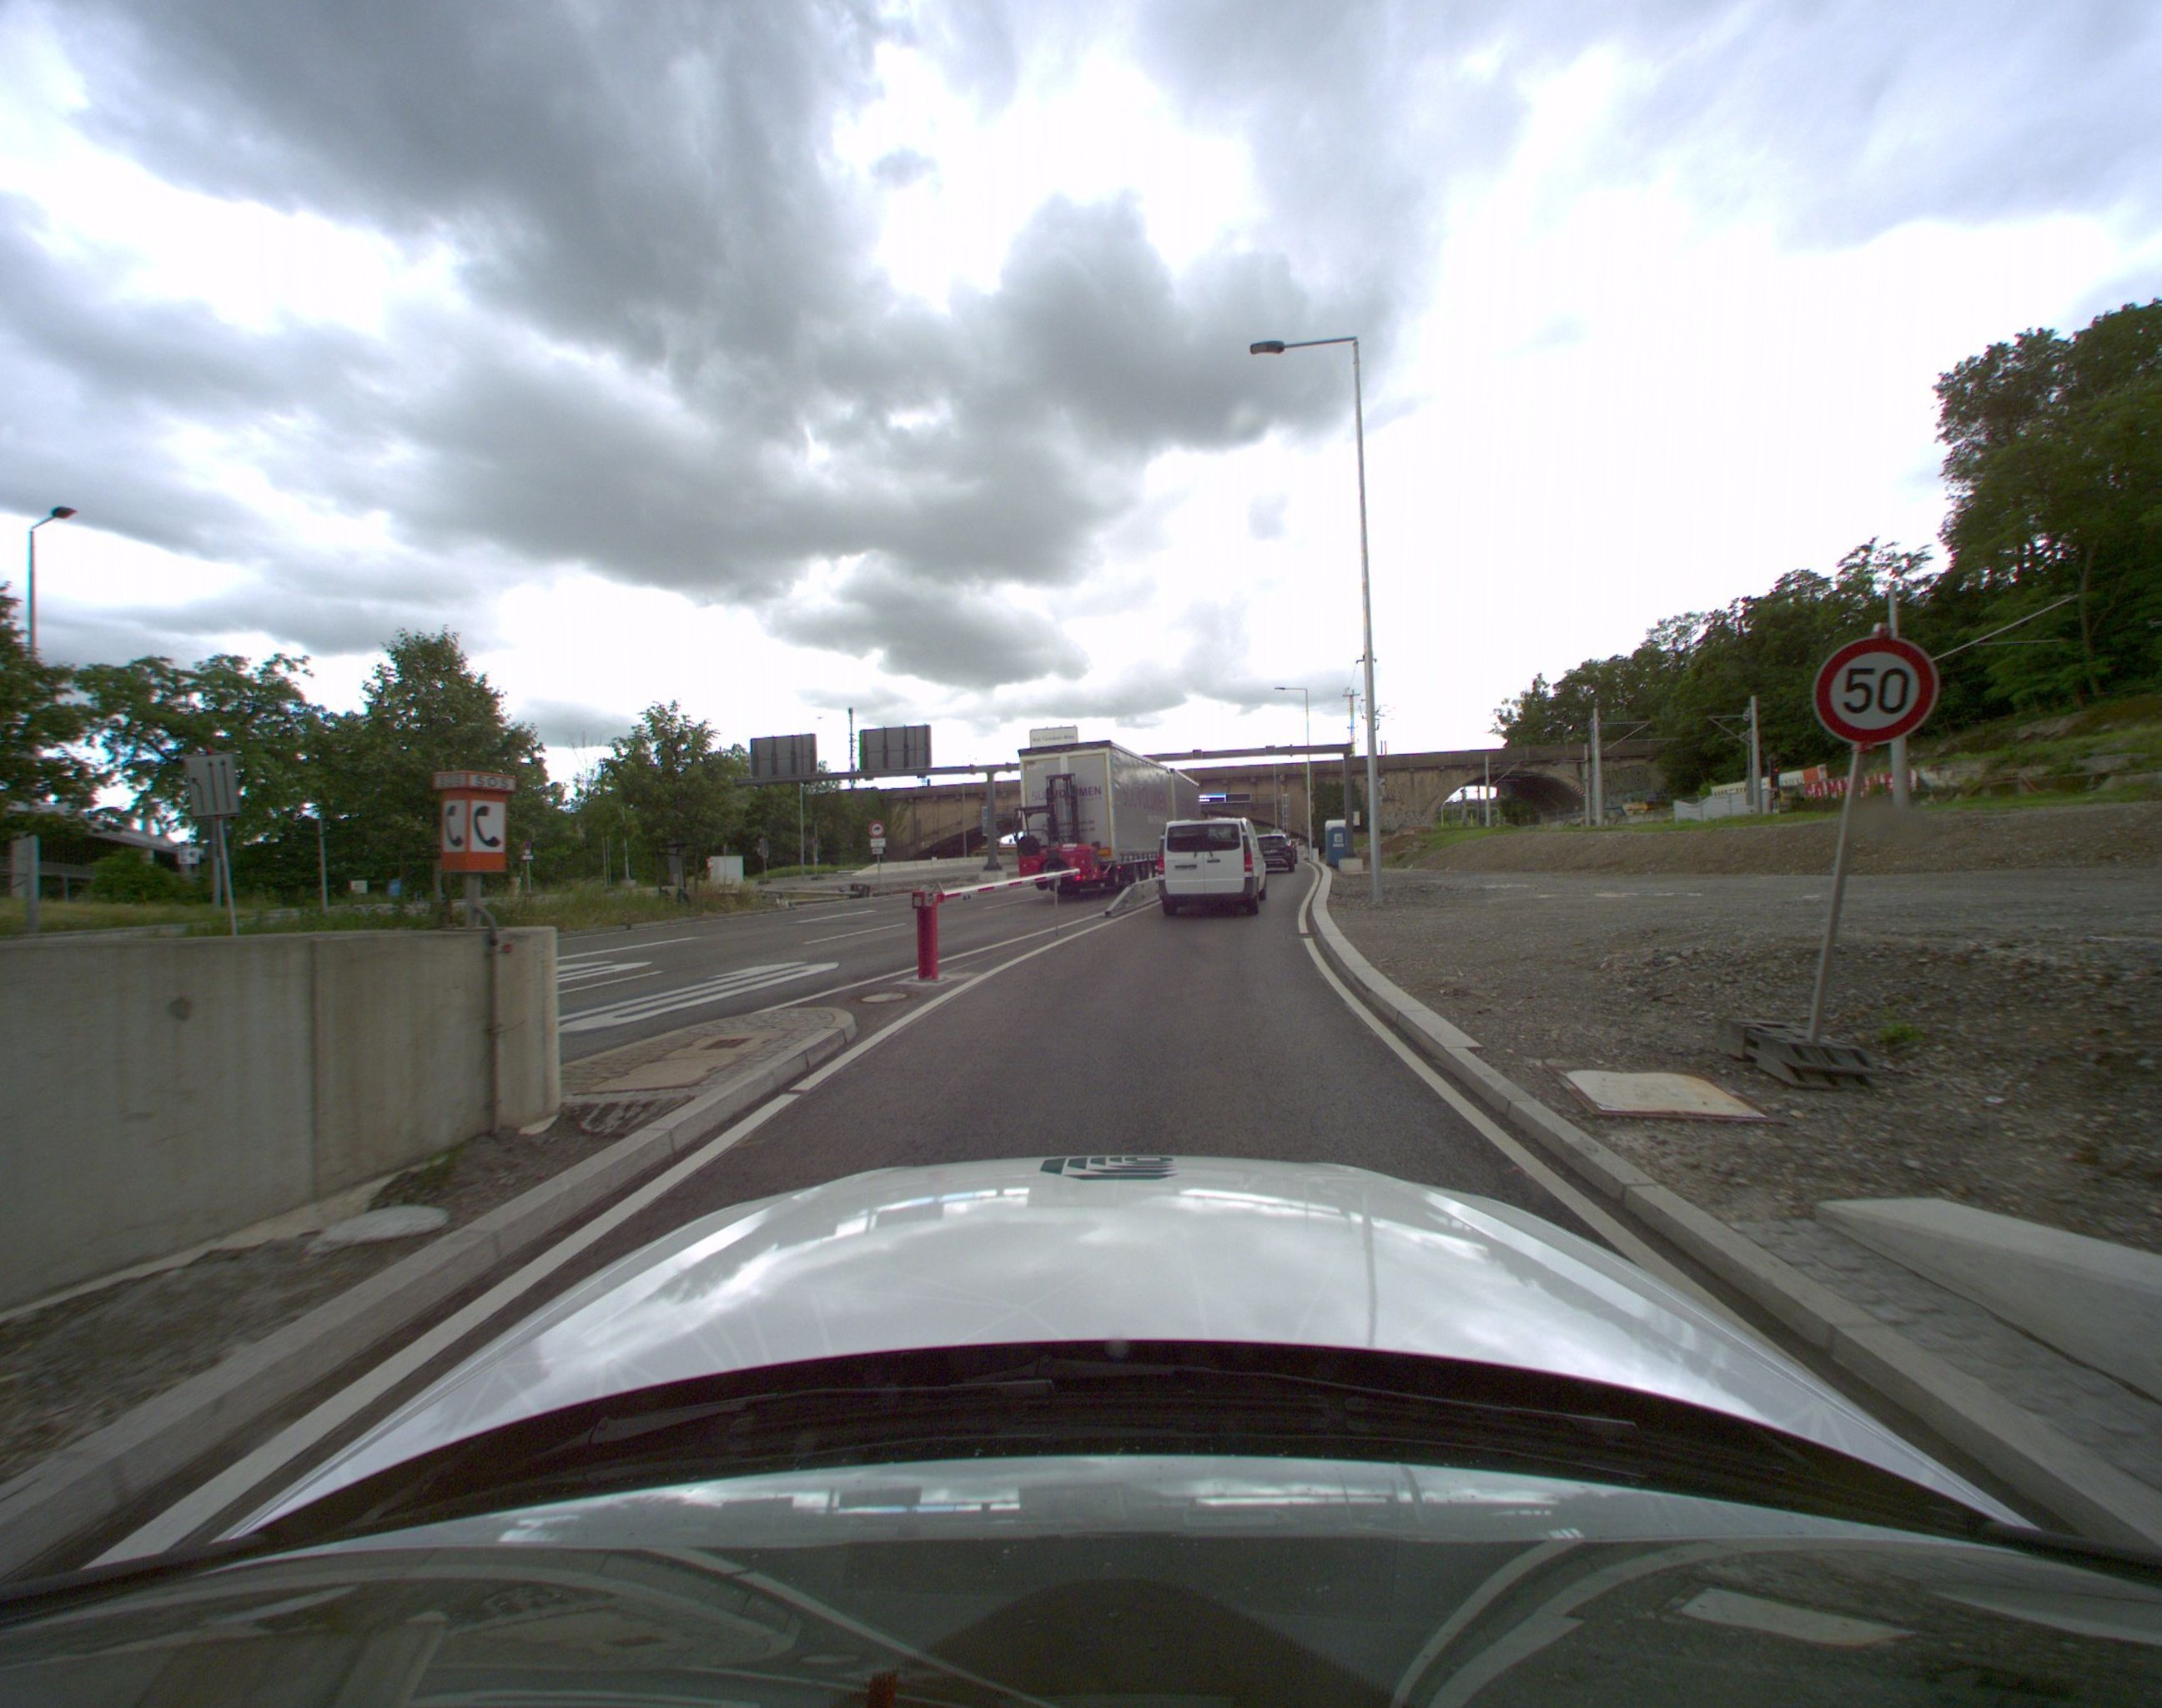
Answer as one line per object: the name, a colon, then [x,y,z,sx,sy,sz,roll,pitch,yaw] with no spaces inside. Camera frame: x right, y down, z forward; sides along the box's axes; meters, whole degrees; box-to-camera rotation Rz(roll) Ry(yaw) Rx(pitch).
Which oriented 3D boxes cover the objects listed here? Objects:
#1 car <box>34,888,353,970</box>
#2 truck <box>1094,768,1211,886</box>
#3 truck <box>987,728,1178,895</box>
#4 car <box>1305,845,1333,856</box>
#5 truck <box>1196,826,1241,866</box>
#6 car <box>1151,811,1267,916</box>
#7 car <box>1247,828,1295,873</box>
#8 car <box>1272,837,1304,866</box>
car: [-17.845,1.434,16.664,1.693,1.136,4.021,-1,2,20]
truck: [3.407,-0.797,34.583,2.965,4.177,11.284,-1,-2,15]
truck: [0.574,-0.947,24.799,2.895,4.017,10.245,-1,-1,17]
car: [43.771,-0.640,149.795,4.478,1.809,1.894,0,-2,-15]
truck: [14.783,-0.895,86.257,3.292,3.809,16.659,0,1,15]
car: [2.871,0.119,17.318,1.862,1.890,4.773,-1,1,15]
car: [7.773,-0.147,33.115,1.736,1.625,3.860,-2,0,15]
car: [11.605,-0.116,45.586,1.489,1.469,3.414,-1,-2,18]
